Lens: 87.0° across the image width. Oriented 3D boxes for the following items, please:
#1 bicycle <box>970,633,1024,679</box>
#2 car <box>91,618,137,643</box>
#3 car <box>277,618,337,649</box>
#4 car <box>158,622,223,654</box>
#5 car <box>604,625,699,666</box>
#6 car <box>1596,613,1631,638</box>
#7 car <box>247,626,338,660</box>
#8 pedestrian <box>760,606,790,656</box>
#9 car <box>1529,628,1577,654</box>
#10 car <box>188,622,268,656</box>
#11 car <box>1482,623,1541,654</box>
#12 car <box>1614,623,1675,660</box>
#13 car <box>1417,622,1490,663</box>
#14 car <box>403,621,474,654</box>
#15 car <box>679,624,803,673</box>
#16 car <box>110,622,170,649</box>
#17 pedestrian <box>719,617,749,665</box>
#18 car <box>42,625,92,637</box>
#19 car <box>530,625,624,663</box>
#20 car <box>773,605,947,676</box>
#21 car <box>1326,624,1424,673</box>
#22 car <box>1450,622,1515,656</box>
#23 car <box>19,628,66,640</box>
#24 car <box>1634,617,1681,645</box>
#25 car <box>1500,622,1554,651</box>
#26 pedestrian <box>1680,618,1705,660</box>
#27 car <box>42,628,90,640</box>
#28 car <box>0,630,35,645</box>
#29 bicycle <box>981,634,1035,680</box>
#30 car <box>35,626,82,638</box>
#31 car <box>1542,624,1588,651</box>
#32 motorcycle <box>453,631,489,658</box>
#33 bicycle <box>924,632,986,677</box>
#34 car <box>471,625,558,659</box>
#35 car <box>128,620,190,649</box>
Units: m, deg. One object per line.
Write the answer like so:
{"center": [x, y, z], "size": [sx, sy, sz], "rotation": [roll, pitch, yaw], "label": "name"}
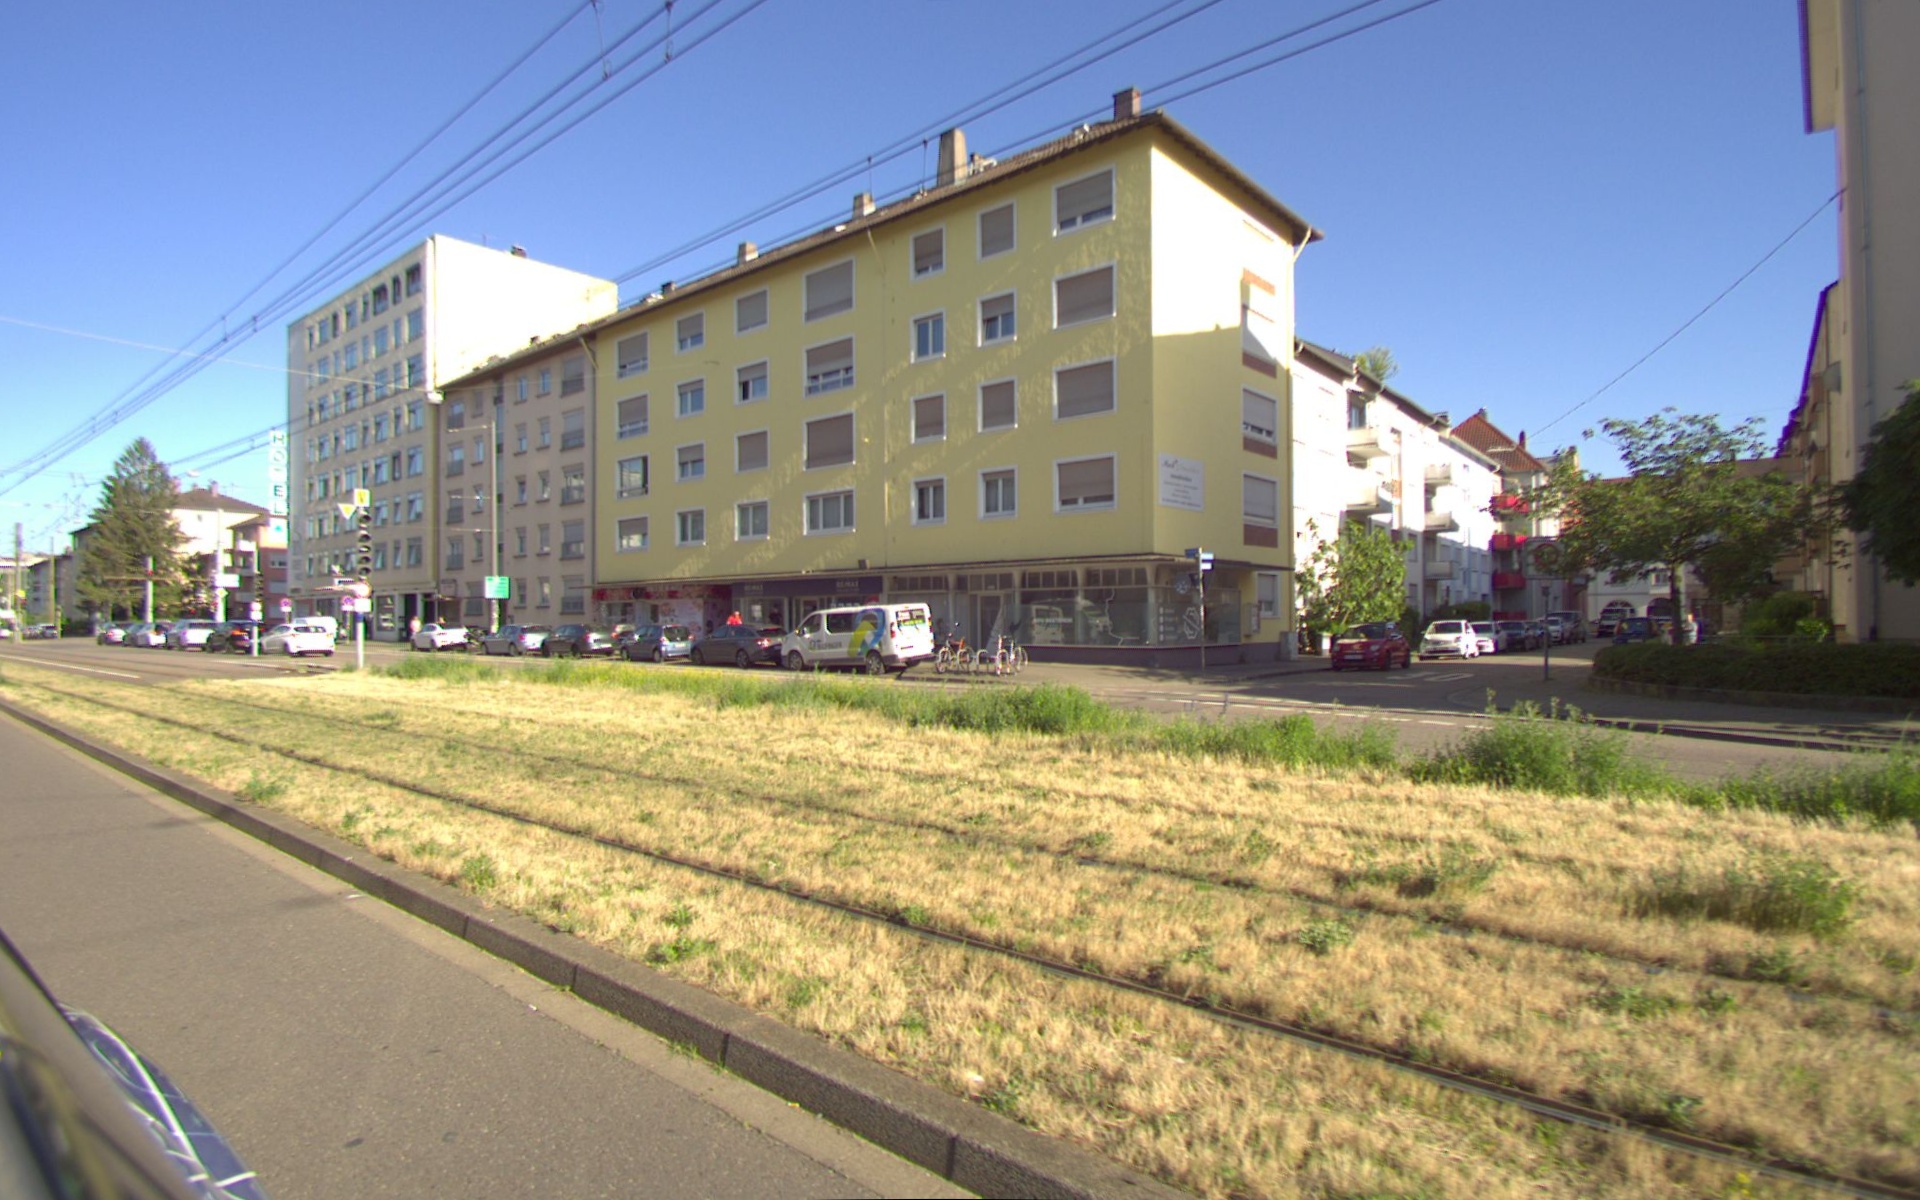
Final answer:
{"center": [1.036, 1.521, 27.662], "size": [0.390, 1.114, 1.800], "rotation": [-2, 1, 41], "label": "bicycle"}
{"center": [-55.331, 2.041, 66.178], "size": [3.998, 1.571, 1.596], "rotation": [-2, -4, 41], "label": "car"}
{"center": [-43.024, 2.212, 66.650], "size": [4.665, 1.912, 1.974], "rotation": [-2, 1, 39], "label": "car"}
{"center": [-40.117, 1.962, 52.704], "size": [4.605, 1.593, 1.764], "rotation": [-2, -3, 41], "label": "car"}
{"center": [-11.920, 1.726, 39.017], "size": [3.766, 1.395, 1.765], "rotation": [-2, 1, 41], "label": "car"}
{"center": [53.910, 2.131, 83.448], "size": [2.013, 1.925, 4.442], "rotation": [-2, -3, 38], "label": "car"}
{"center": [-29.160, 1.861, 44.172], "size": [4.405, 1.395, 1.817], "rotation": [-2, -3, 35], "label": "car"}
{"center": [-7.088, 1.174, 38.796], "size": [0.923, 1.874, 0.664], "rotation": [-2, 1, 41], "label": "pedestrian"}
{"center": [33.641, 2.331, 57.356], "size": [1.771, 1.424, 3.948], "rotation": [-2, -3, 39], "label": "car"}
{"center": [-34.638, 1.859, 47.858], "size": [4.406, 1.540, 1.767], "rotation": [-2, -3, 36], "label": "car"}
{"center": [26.092, 1.833, 47.831], "size": [1.771, 1.424, 3.948], "rotation": [-2, -3, 39], "label": "car"}
{"center": [28.365, 1.728, 41.906], "size": [1.771, 1.424, 3.948], "rotation": [-2, -3, 39], "label": "car"}
{"center": [19.796, 1.704, 40.540], "size": [1.771, 1.542, 3.948], "rotation": [-2, -3, 39], "label": "car"}
{"center": [-26.633, 1.902, 51.658], "size": [4.197, 1.497, 1.740], "rotation": [-2, 1, 41], "label": "car"}
{"center": [-7.633, 1.635, 35.035], "size": [4.593, 1.485, 1.765], "rotation": [-2, 1, 41], "label": "car"}
{"center": [-50.873, 2.215, 62.775], "size": [4.362, 1.562, 1.974], "rotation": [-2, -4, 39], "label": "car"}
{"center": [-8.465, 1.515, 37.847], "size": [0.844, 1.756, 0.664], "rotation": [-2, 1, 41], "label": "pedestrian"}
{"center": [-98.652, 3.389, 111.787], "size": [1.737, 1.342, 3.946], "rotation": [-2, -2, 40], "label": "car"}
{"center": [-16.116, 1.820, 42.510], "size": [4.413, 1.431, 1.765], "rotation": [-2, 1, 41], "label": "car"}
{"center": [-3.169, 1.224, 31.277], "size": [5.493, 1.964, 1.975], "rotation": [-2, 1, 38], "label": "car"}
{"center": [12.918, 1.497, 31.386], "size": [1.771, 1.424, 3.948], "rotation": [-2, -3, 39], "label": "car"}
{"center": [22.754, 1.701, 44.024], "size": [1.771, 1.424, 3.948], "rotation": [-2, -3, 39], "label": "car"}
{"center": [-110.080, 4.062, 121.447], "size": [1.737, 1.342, 3.946], "rotation": [-2, -2, 40], "label": "car"}
{"center": [37.027, 1.681, 53.685], "size": [1.771, 1.424, 3.948], "rotation": [-2, -3, 39], "label": "car"}
{"center": [29.326, 1.912, 52.290], "size": [1.771, 1.424, 3.948], "rotation": [-2, -3, 39], "label": "car"}
{"center": [26.898, 1.419, 37.159], "size": [0.665, 1.505, 0.582], "rotation": [-2, 1, 39], "label": "pedestrian"}
{"center": [-102.683, 3.945, 116.280], "size": [1.737, 1.342, 3.946], "rotation": [-2, -2, 40], "label": "car"}
{"center": [-99.996, 3.919, 107.111], "size": [1.693, 1.397, 3.725], "rotation": [-2, 1, -18], "label": "car"}
{"center": [1.314, 1.521, 27.347], "size": [0.390, 1.114, 1.800], "rotation": [-2, 1, 41], "label": "bicycle"}
{"center": [-105.994, 3.743, 118.996], "size": [1.737, 1.342, 3.946], "rotation": [-2, -2, 40], "label": "car"}
{"center": [37.288, 2.333, 62.320], "size": [1.897, 1.623, 4.442], "rotation": [-2, -3, 38], "label": "car"}
{"center": [-23.594, 2.123, 48.849], "size": [0.481, 1.147, 2.107], "rotation": [-2, 1, 7], "label": "motorcycle"}
{"center": [-0.130, 1.533, 28.913], "size": [0.472, 1.114, 2.076], "rotation": [-2, 1, 41], "label": "bicycle"}
{"center": [-20.252, 1.898, 45.909], "size": [4.410, 1.395, 1.765], "rotation": [-2, 1, 39], "label": "car"}
{"center": [-45.452, 1.953, 57.412], "size": [4.236, 1.562, 1.838], "rotation": [-2, -4, 39], "label": "car"}
